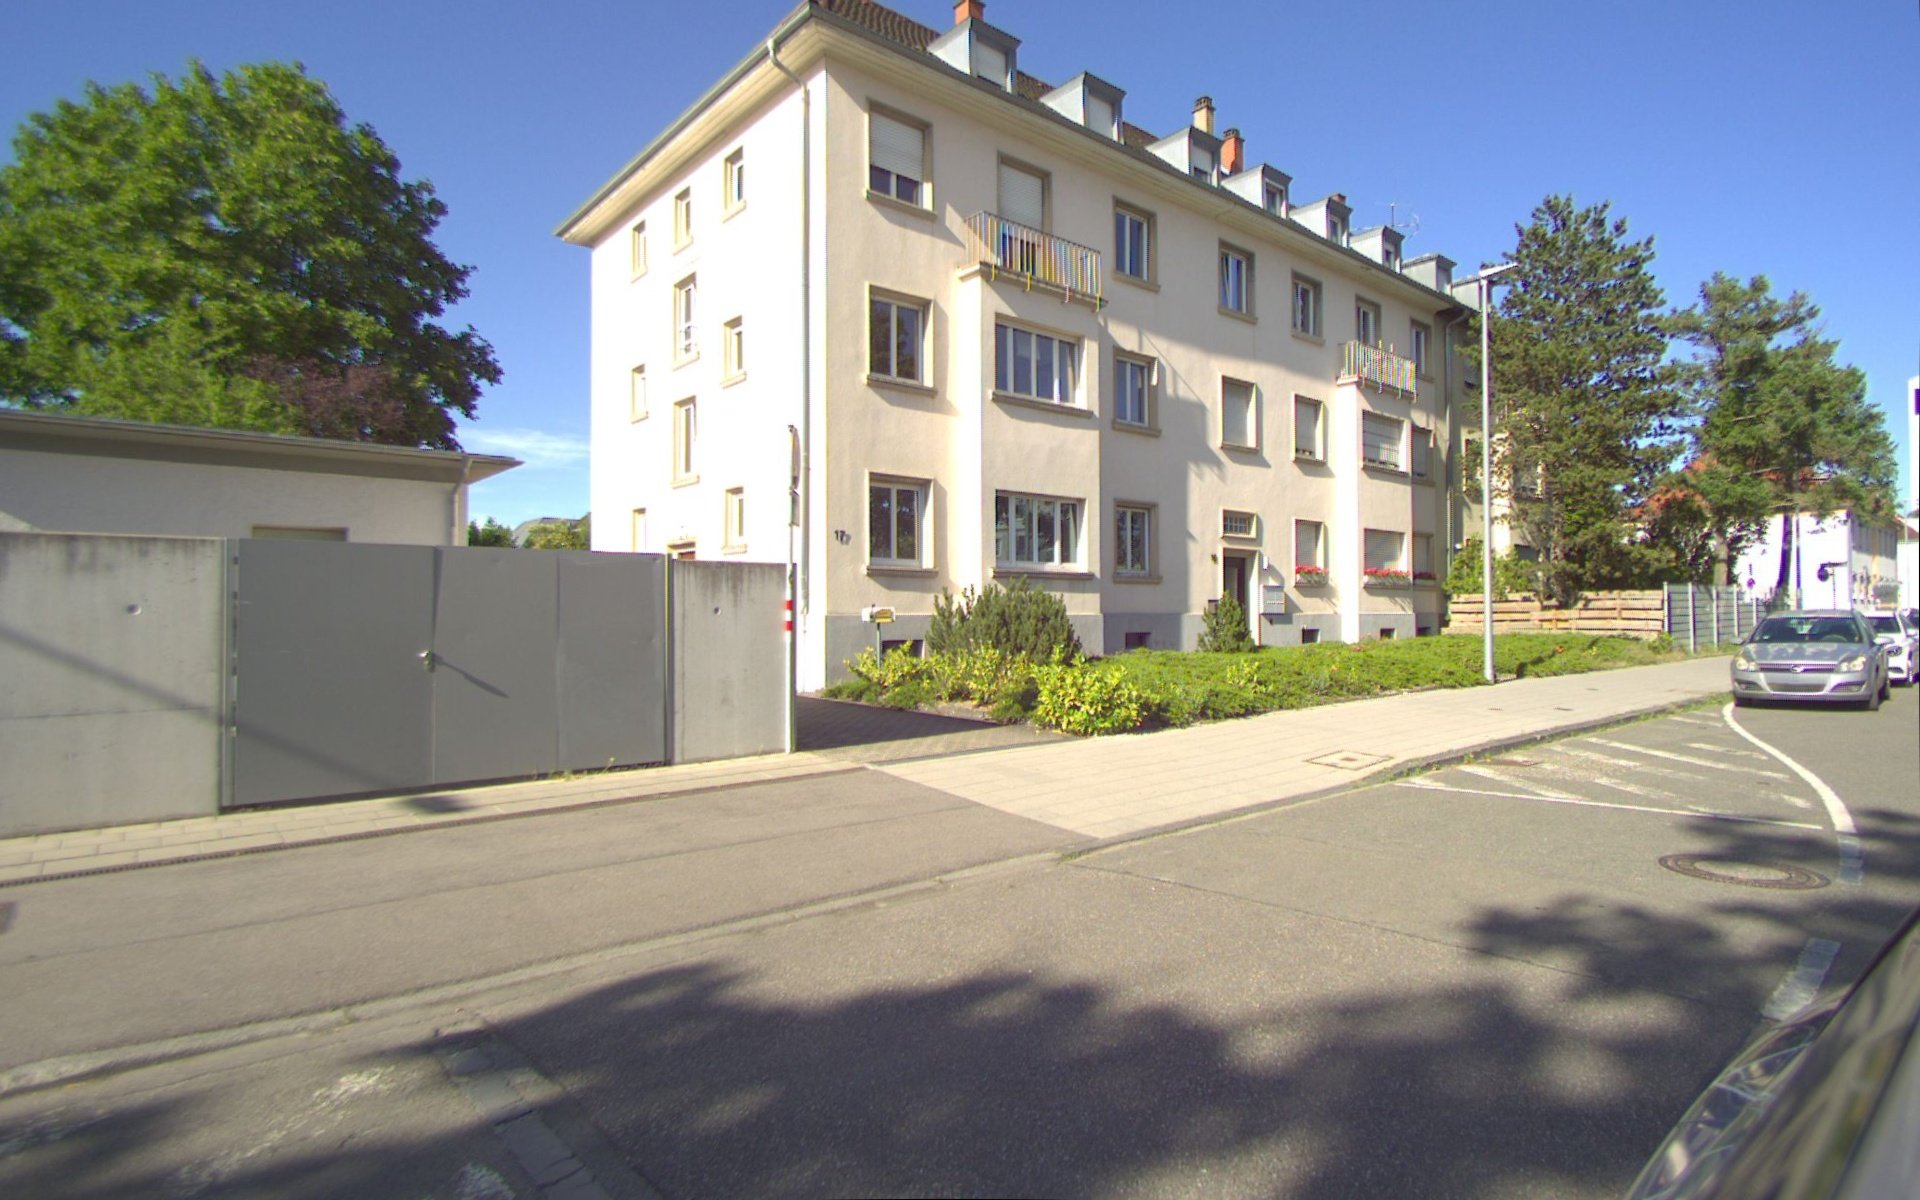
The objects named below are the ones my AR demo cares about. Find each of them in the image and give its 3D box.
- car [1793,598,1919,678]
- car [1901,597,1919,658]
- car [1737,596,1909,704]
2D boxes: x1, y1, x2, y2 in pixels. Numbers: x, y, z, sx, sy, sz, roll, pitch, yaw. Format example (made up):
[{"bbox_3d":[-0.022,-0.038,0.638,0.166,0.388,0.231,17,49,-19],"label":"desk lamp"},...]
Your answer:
[{"bbox_3d":[18.325,0.708,20.270,4.213,1.439,1.797,0,-2,-41],"label":"car"},{"bbox_3d":[26.134,0.674,26.419,3.924,1.530,1.797,0,-2,-41],"label":"car"},{"bbox_3d":[13.738,0.711,16.024,4.339,1.484,1.660,0,-2,-45],"label":"car"}]
